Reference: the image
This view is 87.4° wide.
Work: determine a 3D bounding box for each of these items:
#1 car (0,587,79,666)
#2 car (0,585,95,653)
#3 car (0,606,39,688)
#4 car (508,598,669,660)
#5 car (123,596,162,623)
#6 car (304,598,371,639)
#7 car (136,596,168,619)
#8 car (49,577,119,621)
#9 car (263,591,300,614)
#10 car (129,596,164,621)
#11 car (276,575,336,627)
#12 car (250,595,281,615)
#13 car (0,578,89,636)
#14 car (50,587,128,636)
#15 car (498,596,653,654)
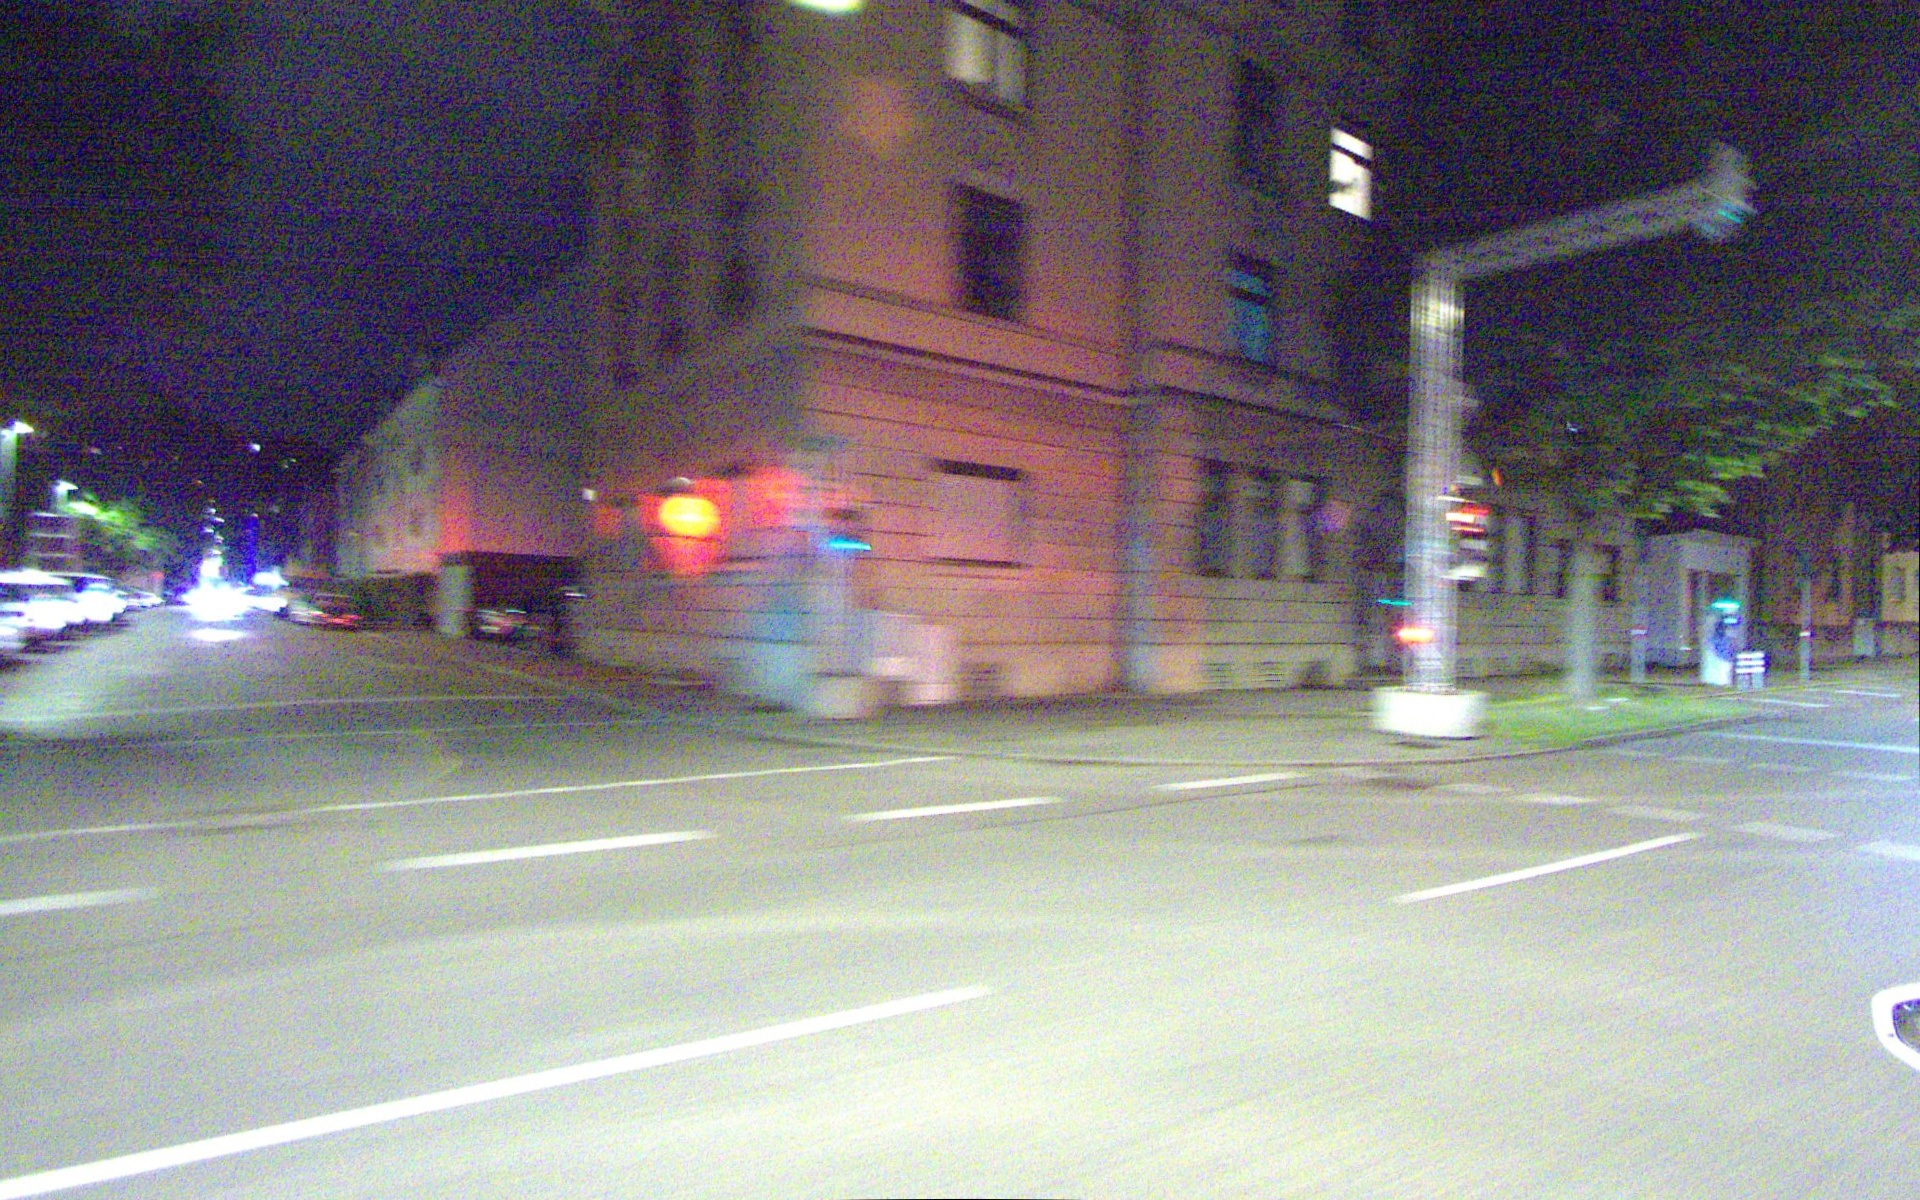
[{"bbox_3d":[-22.647,0.565,24.029,1.817,1.698,4.344,7,-4,-36],"label":"car"},{"bbox_3d":[-26.628,0.527,29.098,1.877,1.730,4.344,7,-4,-36],"label":"car"},{"bbox_3d":[-18.804,0.804,18.716,1.817,1.411,4.344,7,-4,-36],"label":"car"},{"bbox_3d":[-10.577,0.812,28.649,3.958,1.661,1.981,1,-1,-34],"label":"car"},{"bbox_3d":[-54.292,0.624,66.786,1.878,1.699,4.340,3,-2,-38],"label":"car"},{"bbox_3d":[-24.988,0.729,40.254,1.905,1.534,5.052,1,-1,-36],"label":"car"},{"bbox_3d":[-64.430,0.559,80.147,1.878,1.699,4.340,4,-2,-38],"label":"car"},{"bbox_3d":[-38.569,-0.029,44.298,1.878,1.698,4.342,7,-4,-37],"label":"car"},{"bbox_3d":[-46.536,0.206,68.826,1.905,1.534,5.052,1,-1,-36],"label":"car"},{"bbox_3d":[-60.015,0.644,74.147,1.878,1.699,4.340,4,-2,-38],"label":"car"},{"bbox_3d":[-31.616,0.095,48.479,2.149,2.364,5.667,1,-1,-36],"label":"car"},{"bbox_3d":[-55.749,0.434,80.611,1.905,1.534,5.052,1,-1,-36],"label":"car"},{"bbox_3d":[-31.331,0.239,34.382,1.878,1.698,4.342,7,-4,-37],"label":"car"},{"bbox_3d":[-34.476,0.453,39.867,1.878,1.698,4.342,7,-4,-37],"label":"car"},{"bbox_3d":[-11.829,0.774,30.993,4.142,1.661,1.981,1,-1,-34],"label":"car"}]
